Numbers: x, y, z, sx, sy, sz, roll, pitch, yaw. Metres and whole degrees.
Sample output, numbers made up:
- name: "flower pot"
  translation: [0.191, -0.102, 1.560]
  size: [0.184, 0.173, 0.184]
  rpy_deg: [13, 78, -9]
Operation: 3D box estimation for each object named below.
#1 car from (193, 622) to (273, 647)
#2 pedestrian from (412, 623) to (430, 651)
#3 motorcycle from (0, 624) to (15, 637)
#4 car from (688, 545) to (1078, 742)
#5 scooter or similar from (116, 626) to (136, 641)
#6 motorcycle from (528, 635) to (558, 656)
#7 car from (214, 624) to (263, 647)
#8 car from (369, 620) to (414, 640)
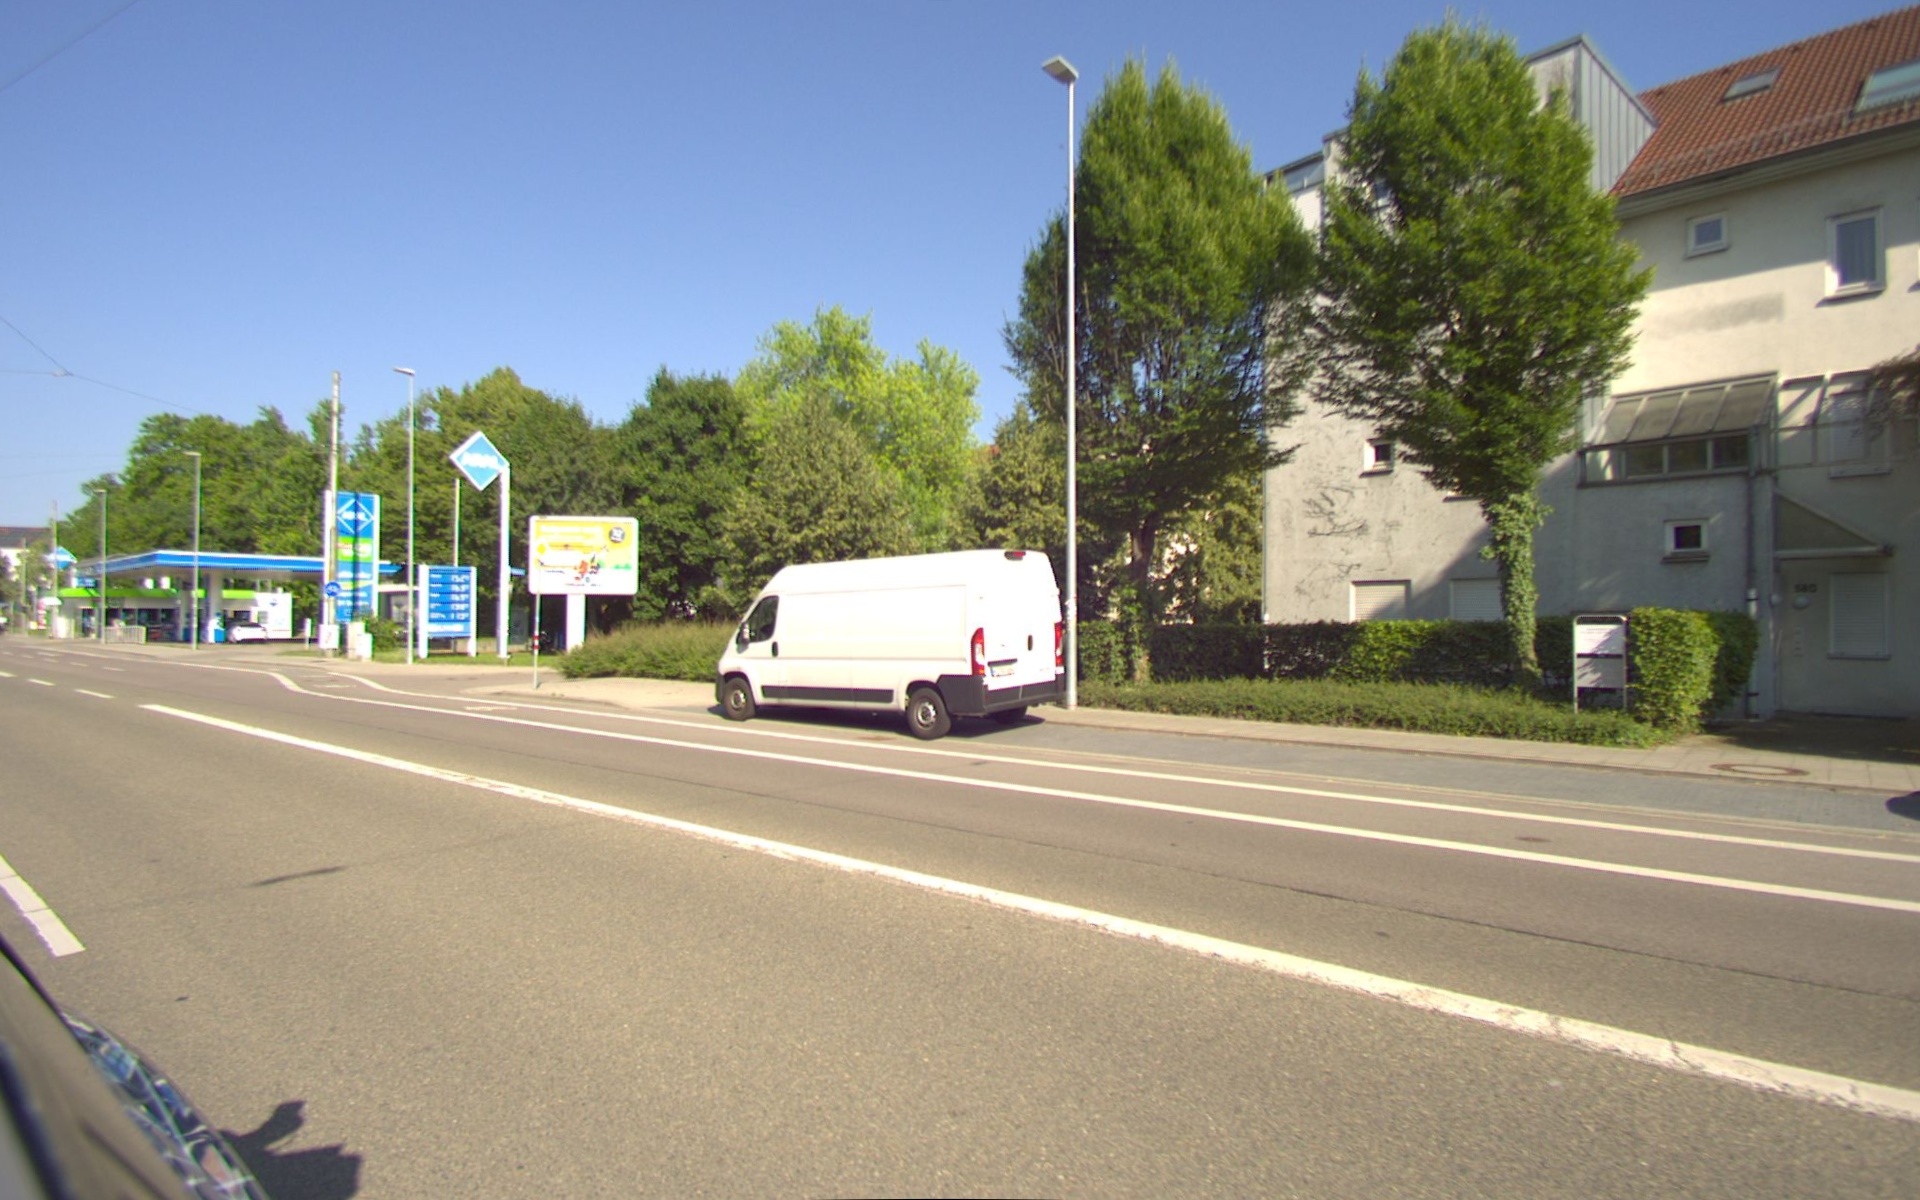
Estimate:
- name: "car"
  translation: [-58.828, 2.800, 81.941]
  size: [1.857, 1.955, 5.014]
  rpy_deg: [-1, -2, 43]
- name: "pedestrian"
  translation: [-33.686, 2.276, 63.232]
  size: [0.811, 1.726, 1.068]
  rpy_deg: [1, -2, -38]
- name: "motorcycle"
  translation: [-97.746, 3.119, 103.484]
  size: [0.722, 1.237, 2.270]
  rpy_deg: [1, -2, -17]
- name: "car"
  translation: [-1.401, 0.575, 15.521]
  size: [6.177, 2.476, 2.131]
  rpy_deg: [-1, 0, 39]
- name: "scooter or similar"
  translation: [-63.756, 2.589, 77.387]
  size: [1.127, 1.125, 0.351]
  rpy_deg: [2, -2, -41]
- name: "motorcycle"
  translation: [-20.335, 2.202, 49.285]
  size: [1.903, 0.989, 0.512]
  rpy_deg: [-1, -2, 40]
- name: "car"
  translation: [-48.451, 2.379, 67.943]
  size: [4.272, 1.502, 1.719]
  rpy_deg: [-1, -2, 40]
- name: "car"
  translation: [-41.816, 2.215, 74.460]
  size: [3.999, 1.457, 1.718]
  rpy_deg: [-1, -2, 42]
